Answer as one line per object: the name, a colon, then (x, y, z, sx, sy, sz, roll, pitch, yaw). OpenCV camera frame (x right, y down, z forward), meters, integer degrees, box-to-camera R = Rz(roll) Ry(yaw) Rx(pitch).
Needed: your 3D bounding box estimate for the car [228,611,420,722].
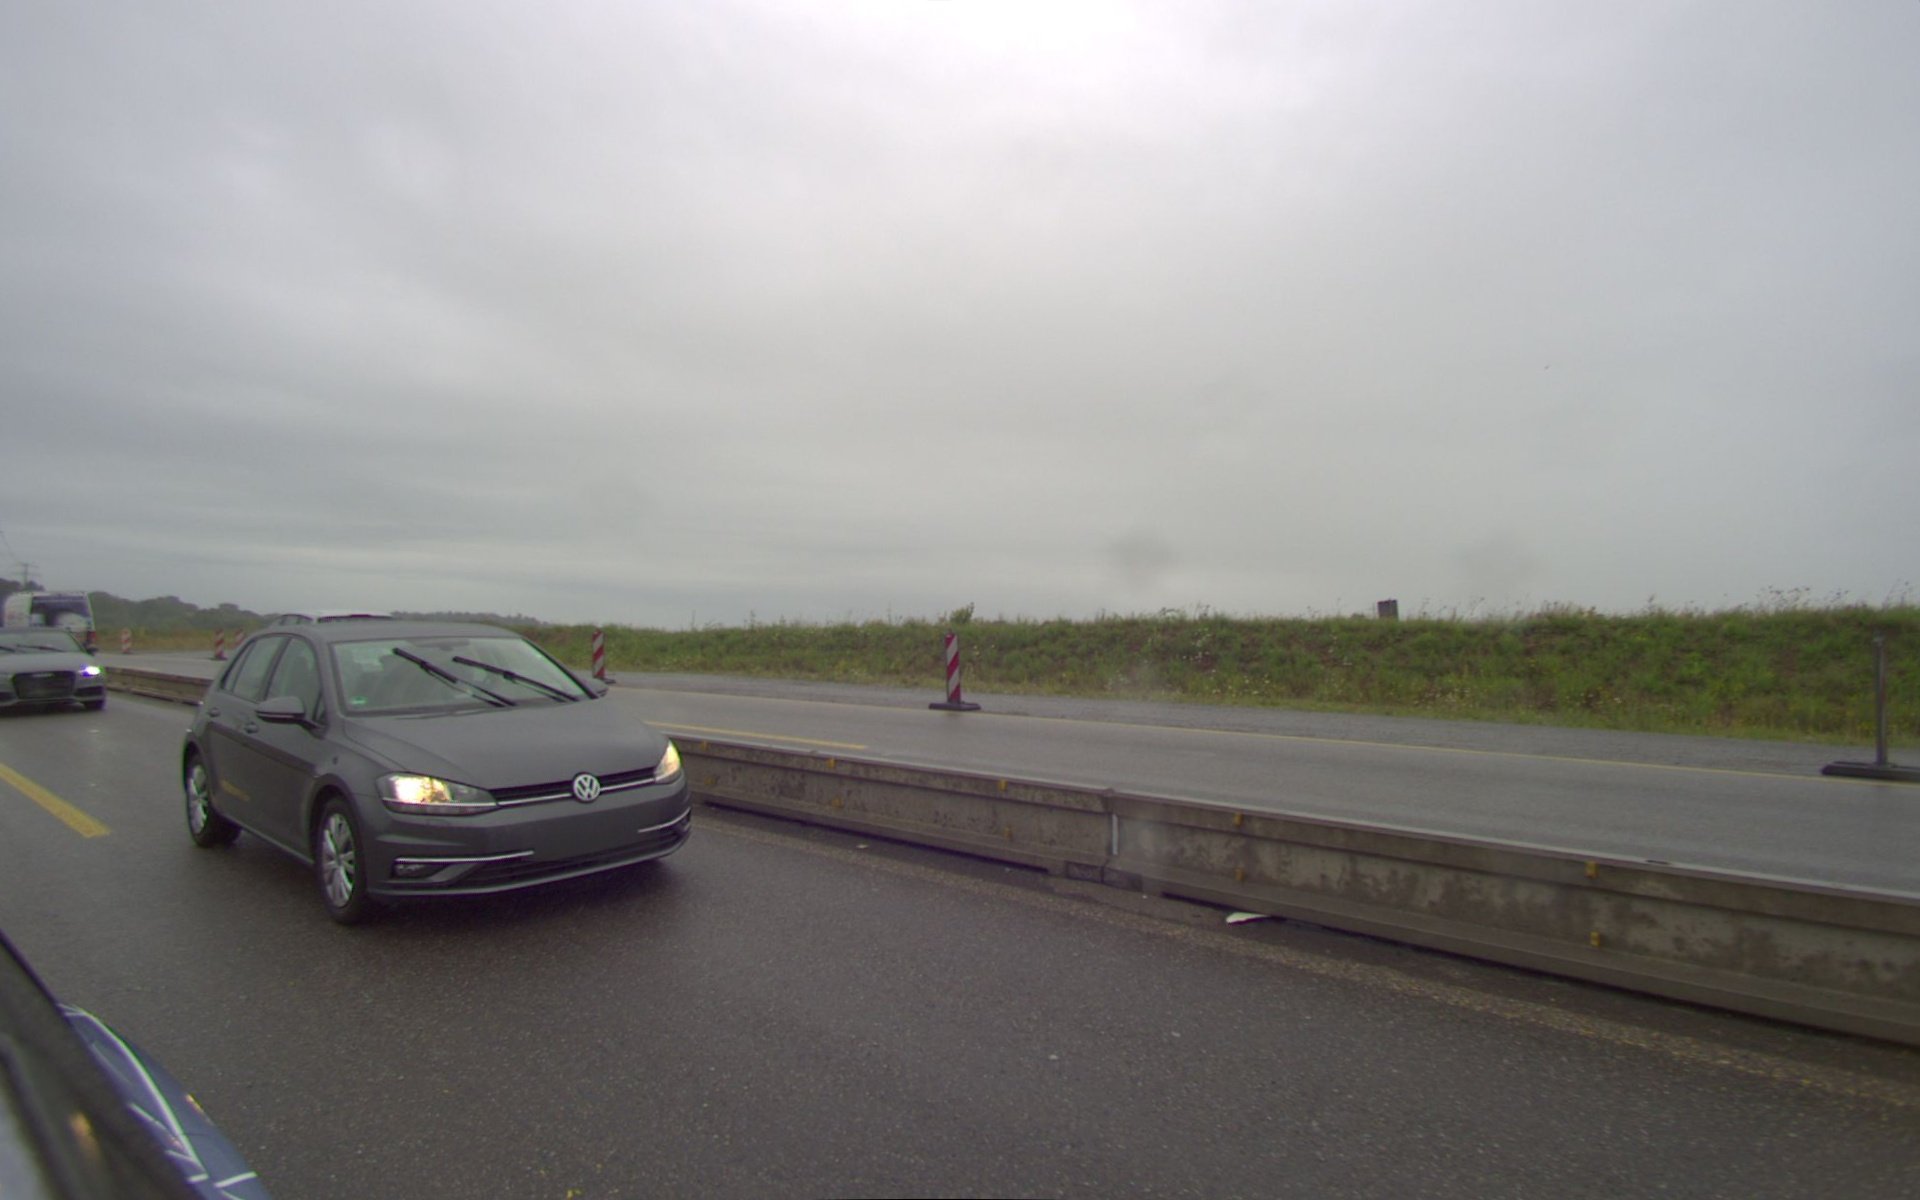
car: (-11.591, 1.113, 18.325, 4.286, 1.736, 1.772, -1, 0, 41)

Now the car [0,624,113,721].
car: (-16.160, 1.169, 17.336, 4.265, 1.407, 1.777, 0, 0, 39)

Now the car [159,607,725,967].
car: (-3.302, 0.769, 6.054, 4.079, 1.433, 1.632, 0, 0, 41)

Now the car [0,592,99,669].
car: (-32.796, 1.098, 36.274, 5.954, 2.568, 2.003, -2, -2, 41)
